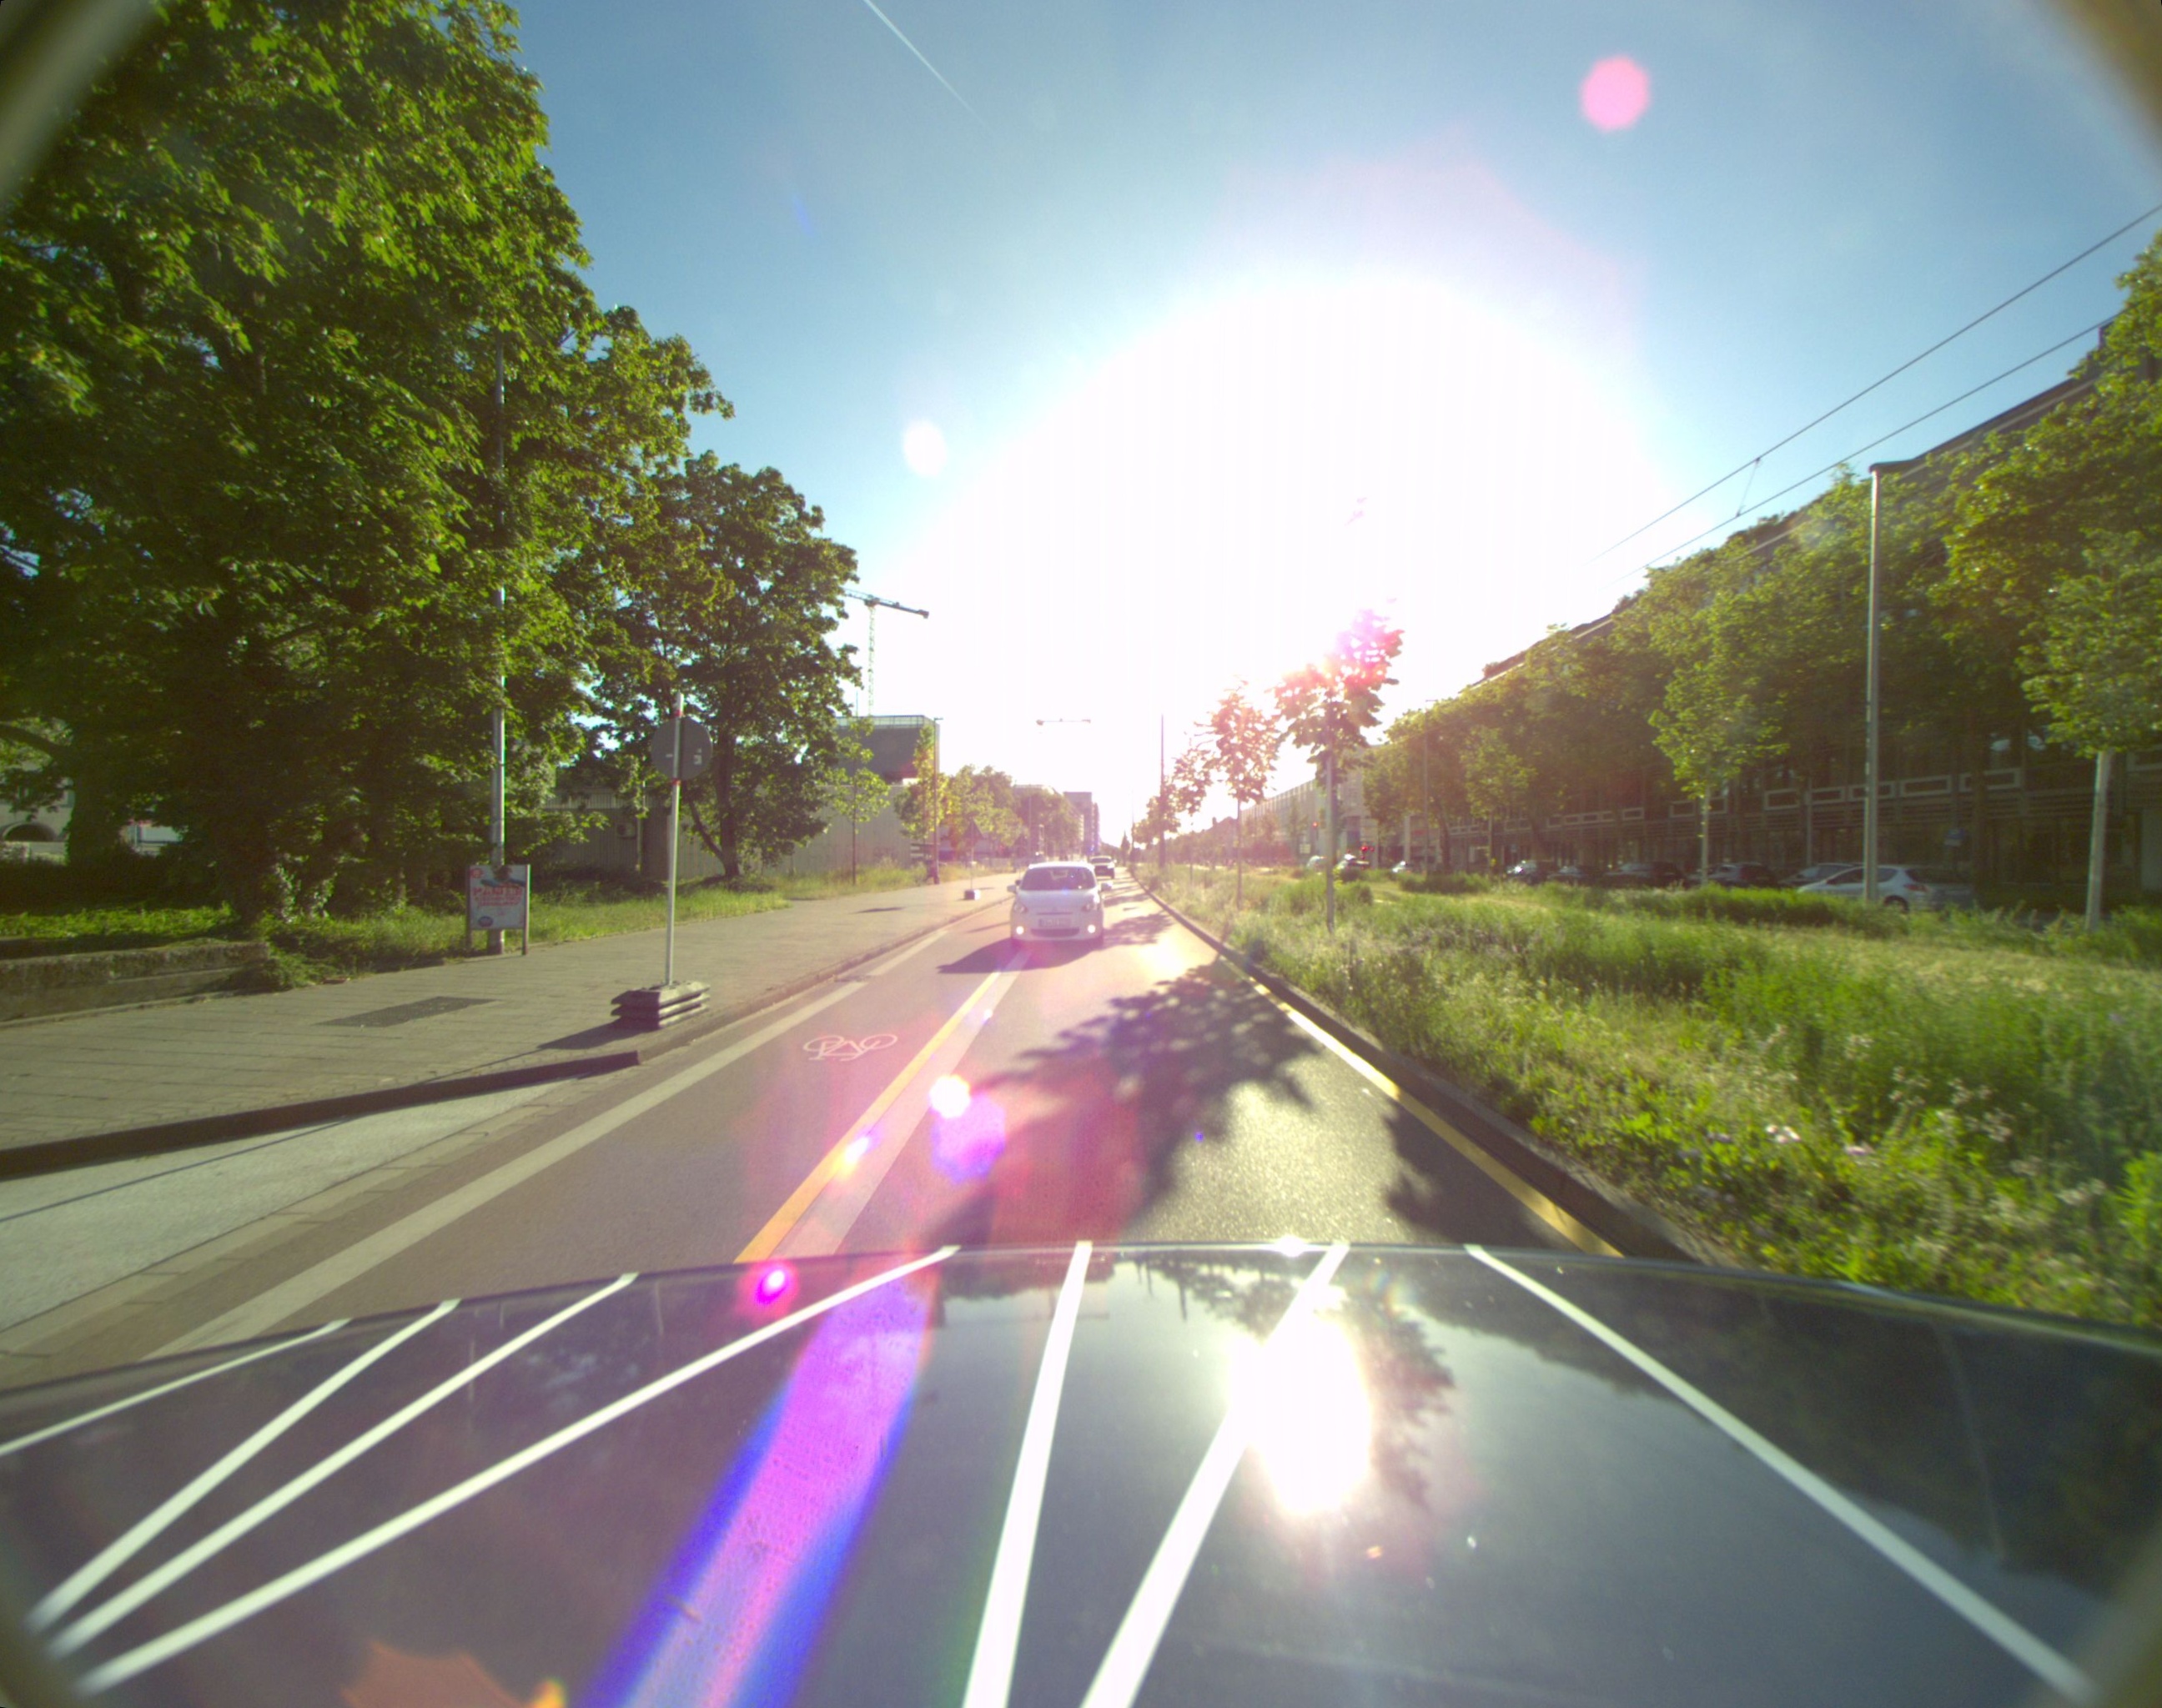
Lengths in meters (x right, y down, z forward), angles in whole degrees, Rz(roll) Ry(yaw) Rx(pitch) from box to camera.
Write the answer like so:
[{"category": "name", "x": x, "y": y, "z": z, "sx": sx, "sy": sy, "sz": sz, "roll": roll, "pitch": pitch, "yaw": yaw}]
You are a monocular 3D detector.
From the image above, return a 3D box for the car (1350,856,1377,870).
[{"category": "car", "x": 29.354, "y": 0.940, "z": 79.037, "sx": 1.554, "sy": 1.371, "sz": 3.780, "roll": 0, "pitch": 0, "yaw": 3}]

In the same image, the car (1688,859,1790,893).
[{"category": "car", "x": 31.316, "y": 1.071, "z": 36.323, "sx": 1.726, "sy": 1.477, "sz": 3.633, "roll": -1, "pitch": -2, "yaw": 1}]

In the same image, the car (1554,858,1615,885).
[{"category": "car", "x": 31.474, "y": 1.075, "z": 47.592, "sx": 1.510, "sy": 1.592, "sz": 3.527, "roll": -2, "pitch": 0, "yaw": 1}]

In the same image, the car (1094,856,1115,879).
[{"category": "car", "x": 1.709, "y": 0.969, "z": 56.199, "sx": 1.458, "sy": 1.472, "sz": 3.527, "roll": -2, "pitch": 1, "yaw": 2}]

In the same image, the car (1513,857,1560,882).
[{"category": "car", "x": 31.896, "y": 1.063, "z": 53.273, "sx": 1.390, "sy": 1.592, "sz": 3.266, "roll": -2, "pitch": 0, "yaw": 1}]

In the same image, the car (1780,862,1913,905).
[{"category": "car", "x": 30.610, "y": 1.143, "z": 30.538, "sx": 1.726, "sy": 1.535, "sz": 3.631, "roll": -2, "pitch": 0, "yaw": 1}]

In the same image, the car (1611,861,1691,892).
[{"category": "car", "x": 31.474, "y": 1.218, "z": 42.050, "sx": 1.726, "sy": 1.592, "sz": 3.631, "roll": -2, "pitch": 0, "yaw": 1}]

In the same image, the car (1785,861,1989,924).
[{"category": "car", "x": 21.594, "y": 0.967, "z": 20.596, "sx": 1.631, "sy": 1.487, "sz": 3.780, "roll": 0, "pitch": 0, "yaw": 3}]

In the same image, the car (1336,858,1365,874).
[{"category": "car", "x": 25.238, "y": 1.121, "z": 71.362, "sx": 1.554, "sy": 1.371, "sz": 3.780, "roll": 0, "pitch": 0, "yaw": 3}]

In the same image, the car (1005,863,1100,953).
[{"category": "car", "x": -0.480, "y": 0.959, "z": 14.962, "sx": 1.614, "sy": 1.488, "sz": 3.394, "roll": -2, "pitch": 0, "yaw": 1}]

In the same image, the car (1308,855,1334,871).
[{"category": "car", "x": 26.298, "y": 0.977, "z": 83.297, "sx": 1.865, "sy": 1.671, "sz": 3.780, "roll": 0, "pitch": 0, "yaw": 3}]

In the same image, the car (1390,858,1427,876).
[{"category": "car", "x": 27.685, "y": 1.061, "z": 64.355, "sx": 1.631, "sy": 1.487, "sz": 3.780, "roll": 0, "pitch": 0, "yaw": 3}]
